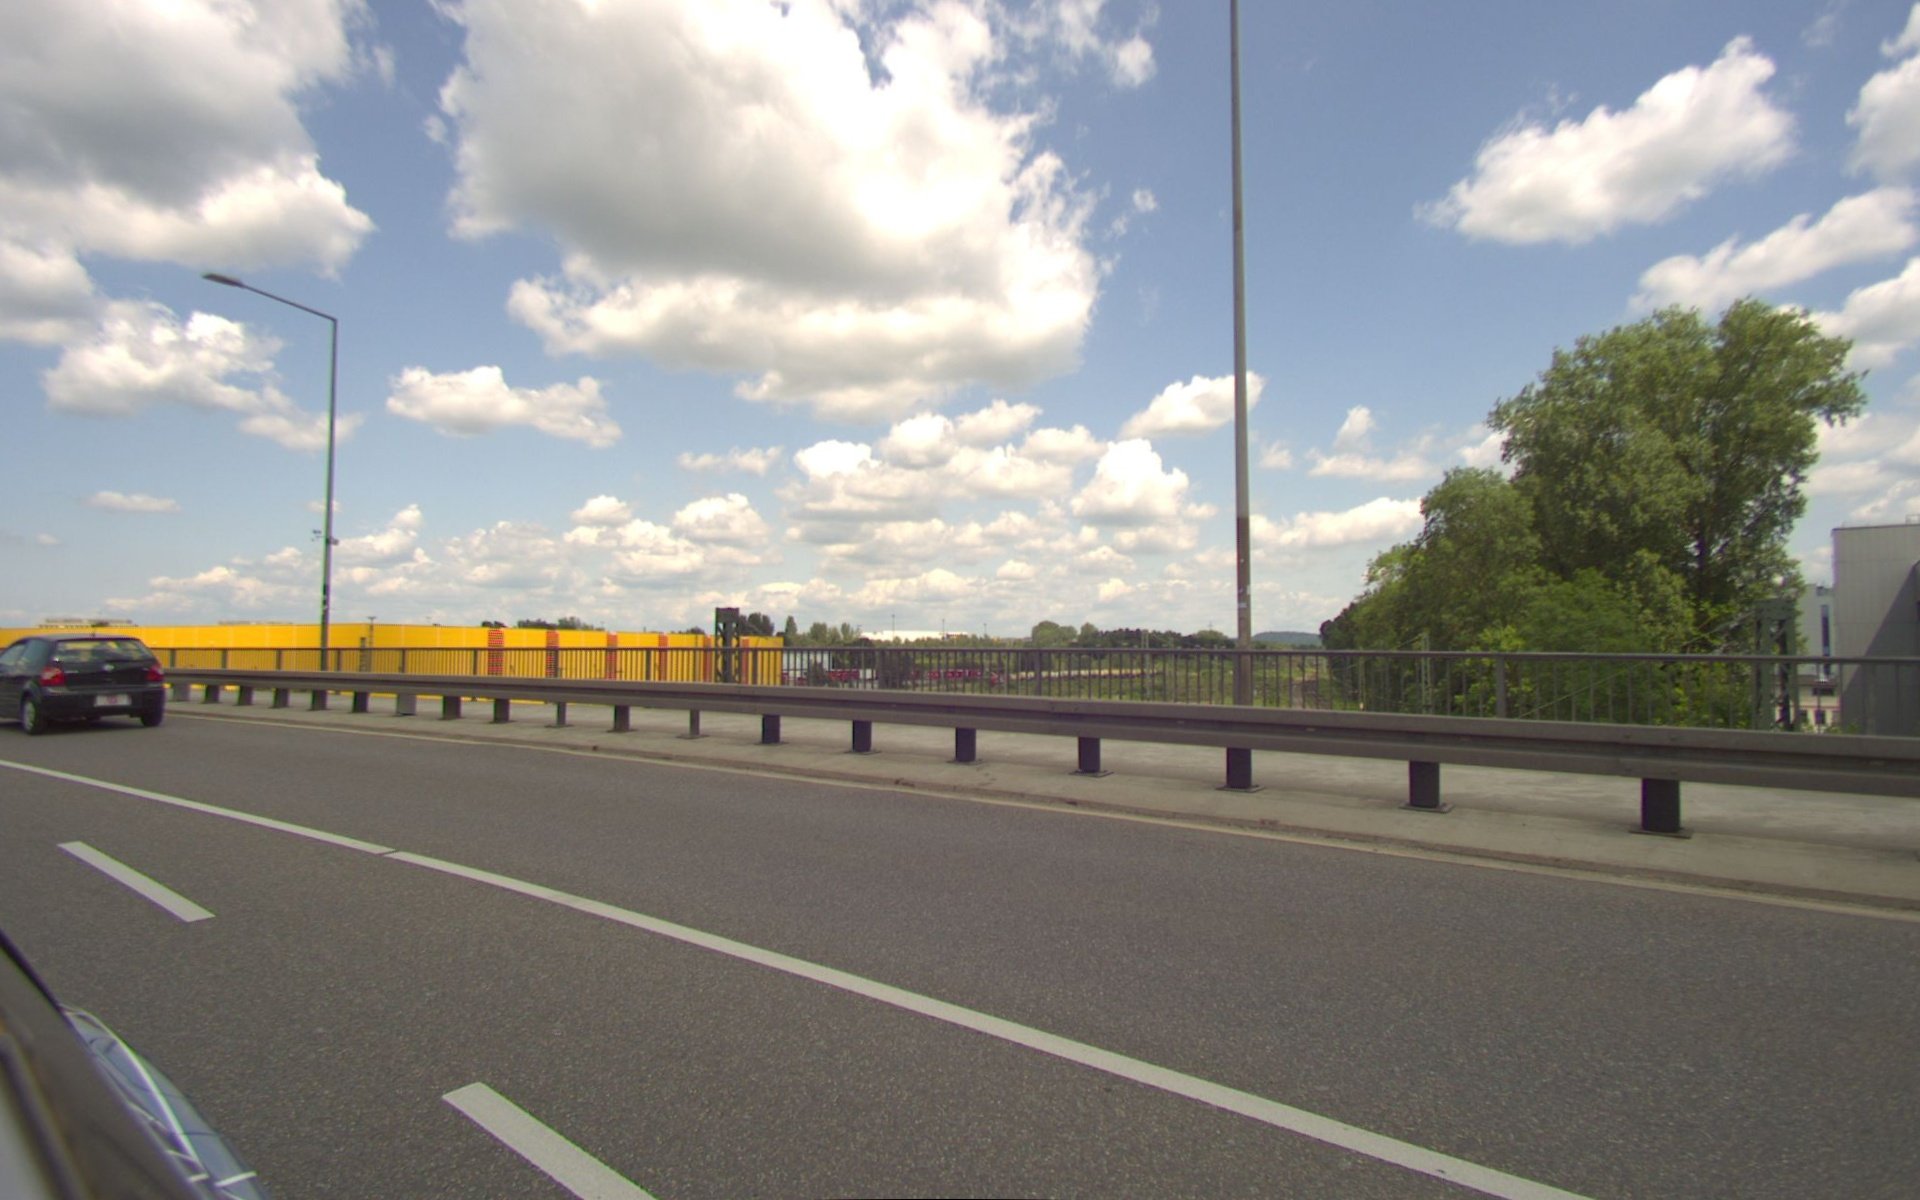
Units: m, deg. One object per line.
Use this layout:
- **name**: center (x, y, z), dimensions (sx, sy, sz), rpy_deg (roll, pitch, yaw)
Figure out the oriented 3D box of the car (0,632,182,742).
- **car**: center (-13.966, 1.271, 15.809), dimensions (3.917, 1.463, 1.799), rpy_deg (-2, -1, 35)
